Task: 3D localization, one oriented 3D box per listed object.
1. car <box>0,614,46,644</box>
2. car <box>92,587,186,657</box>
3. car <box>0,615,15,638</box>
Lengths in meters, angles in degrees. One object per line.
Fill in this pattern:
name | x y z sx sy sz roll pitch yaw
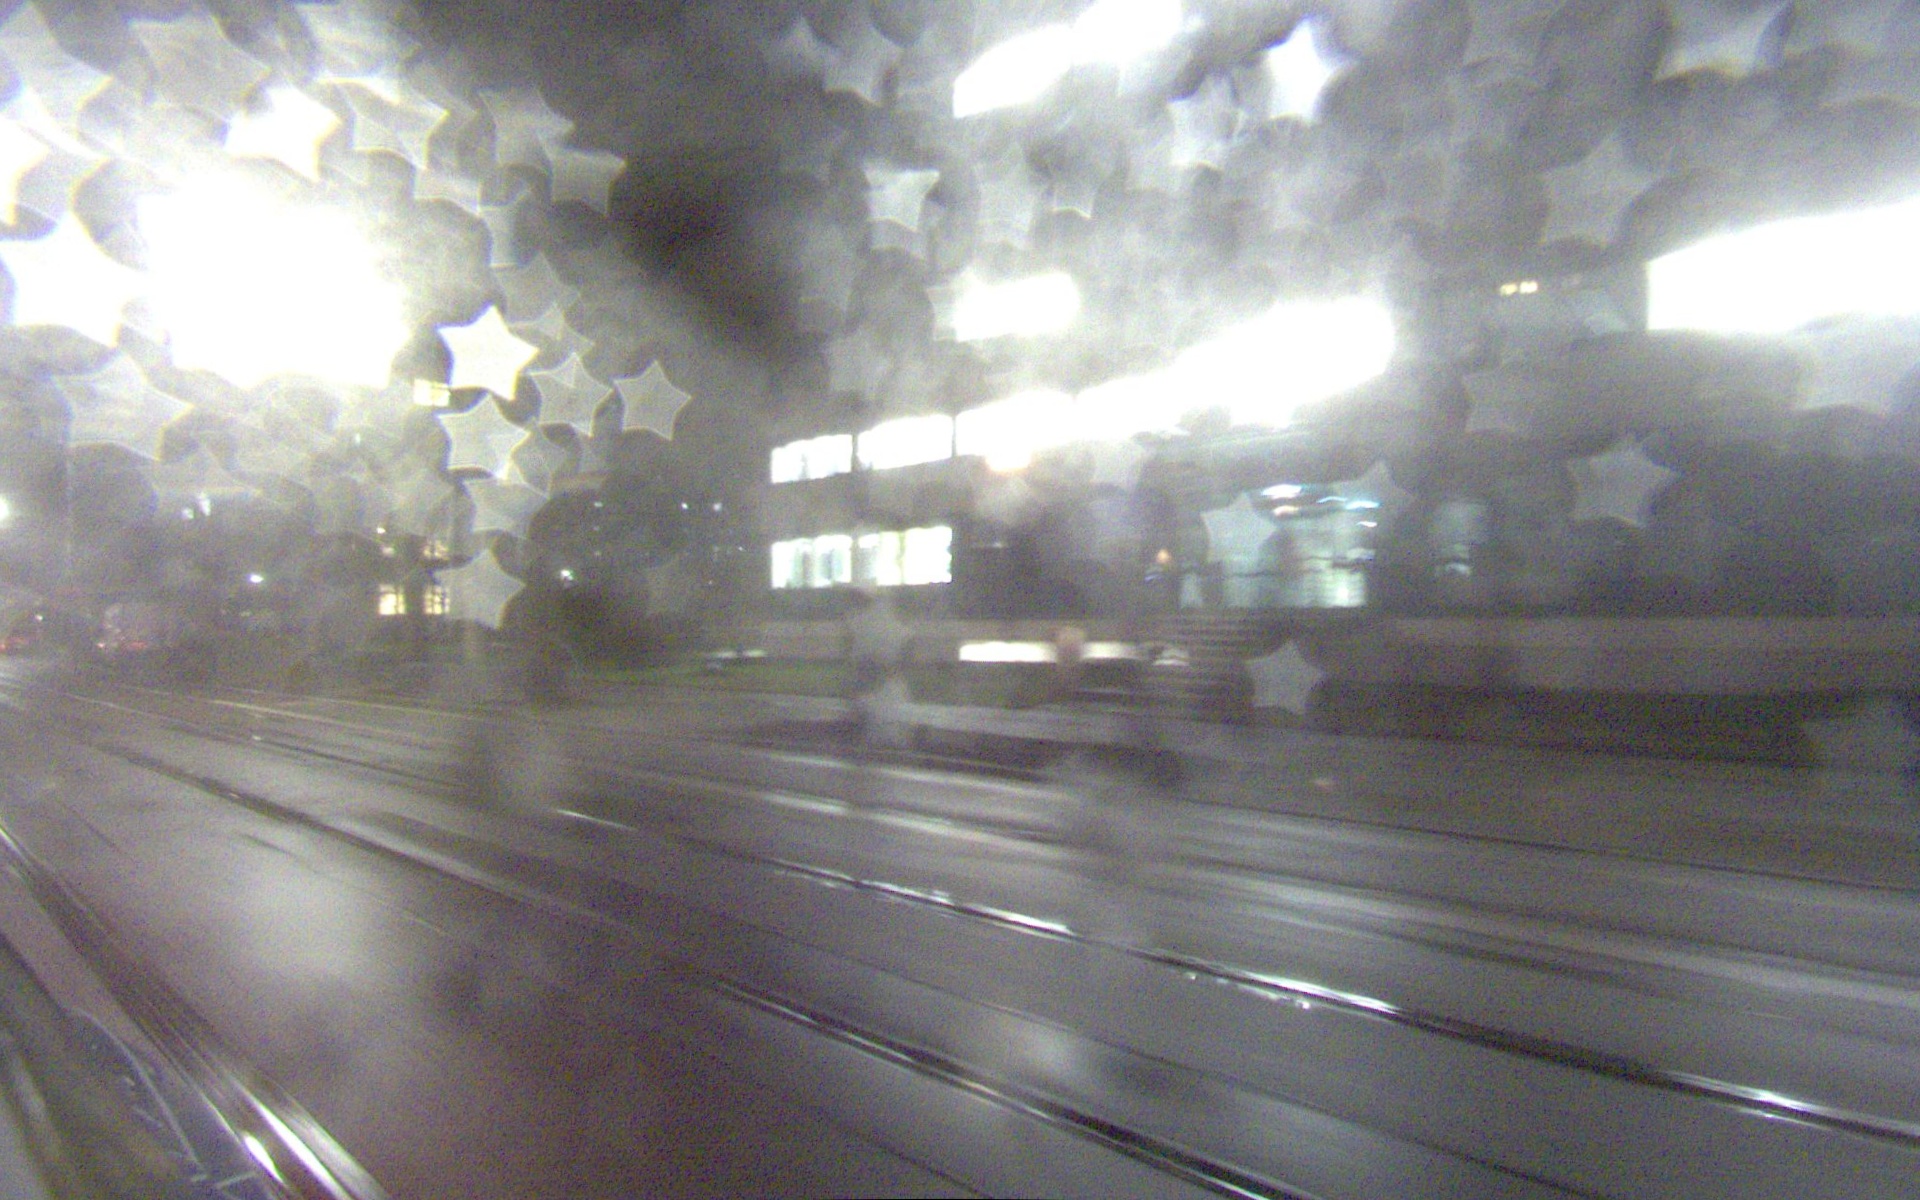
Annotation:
car | -56.710 1.718 60.968 4.600 1.668 1.948 -1 2 43
car | -33.209 0.899 40.848 6.392 2.611 2.161 -2 -1 43
car | -70.222 1.931 73.453 4.515 1.643 1.963 -1 0 41
